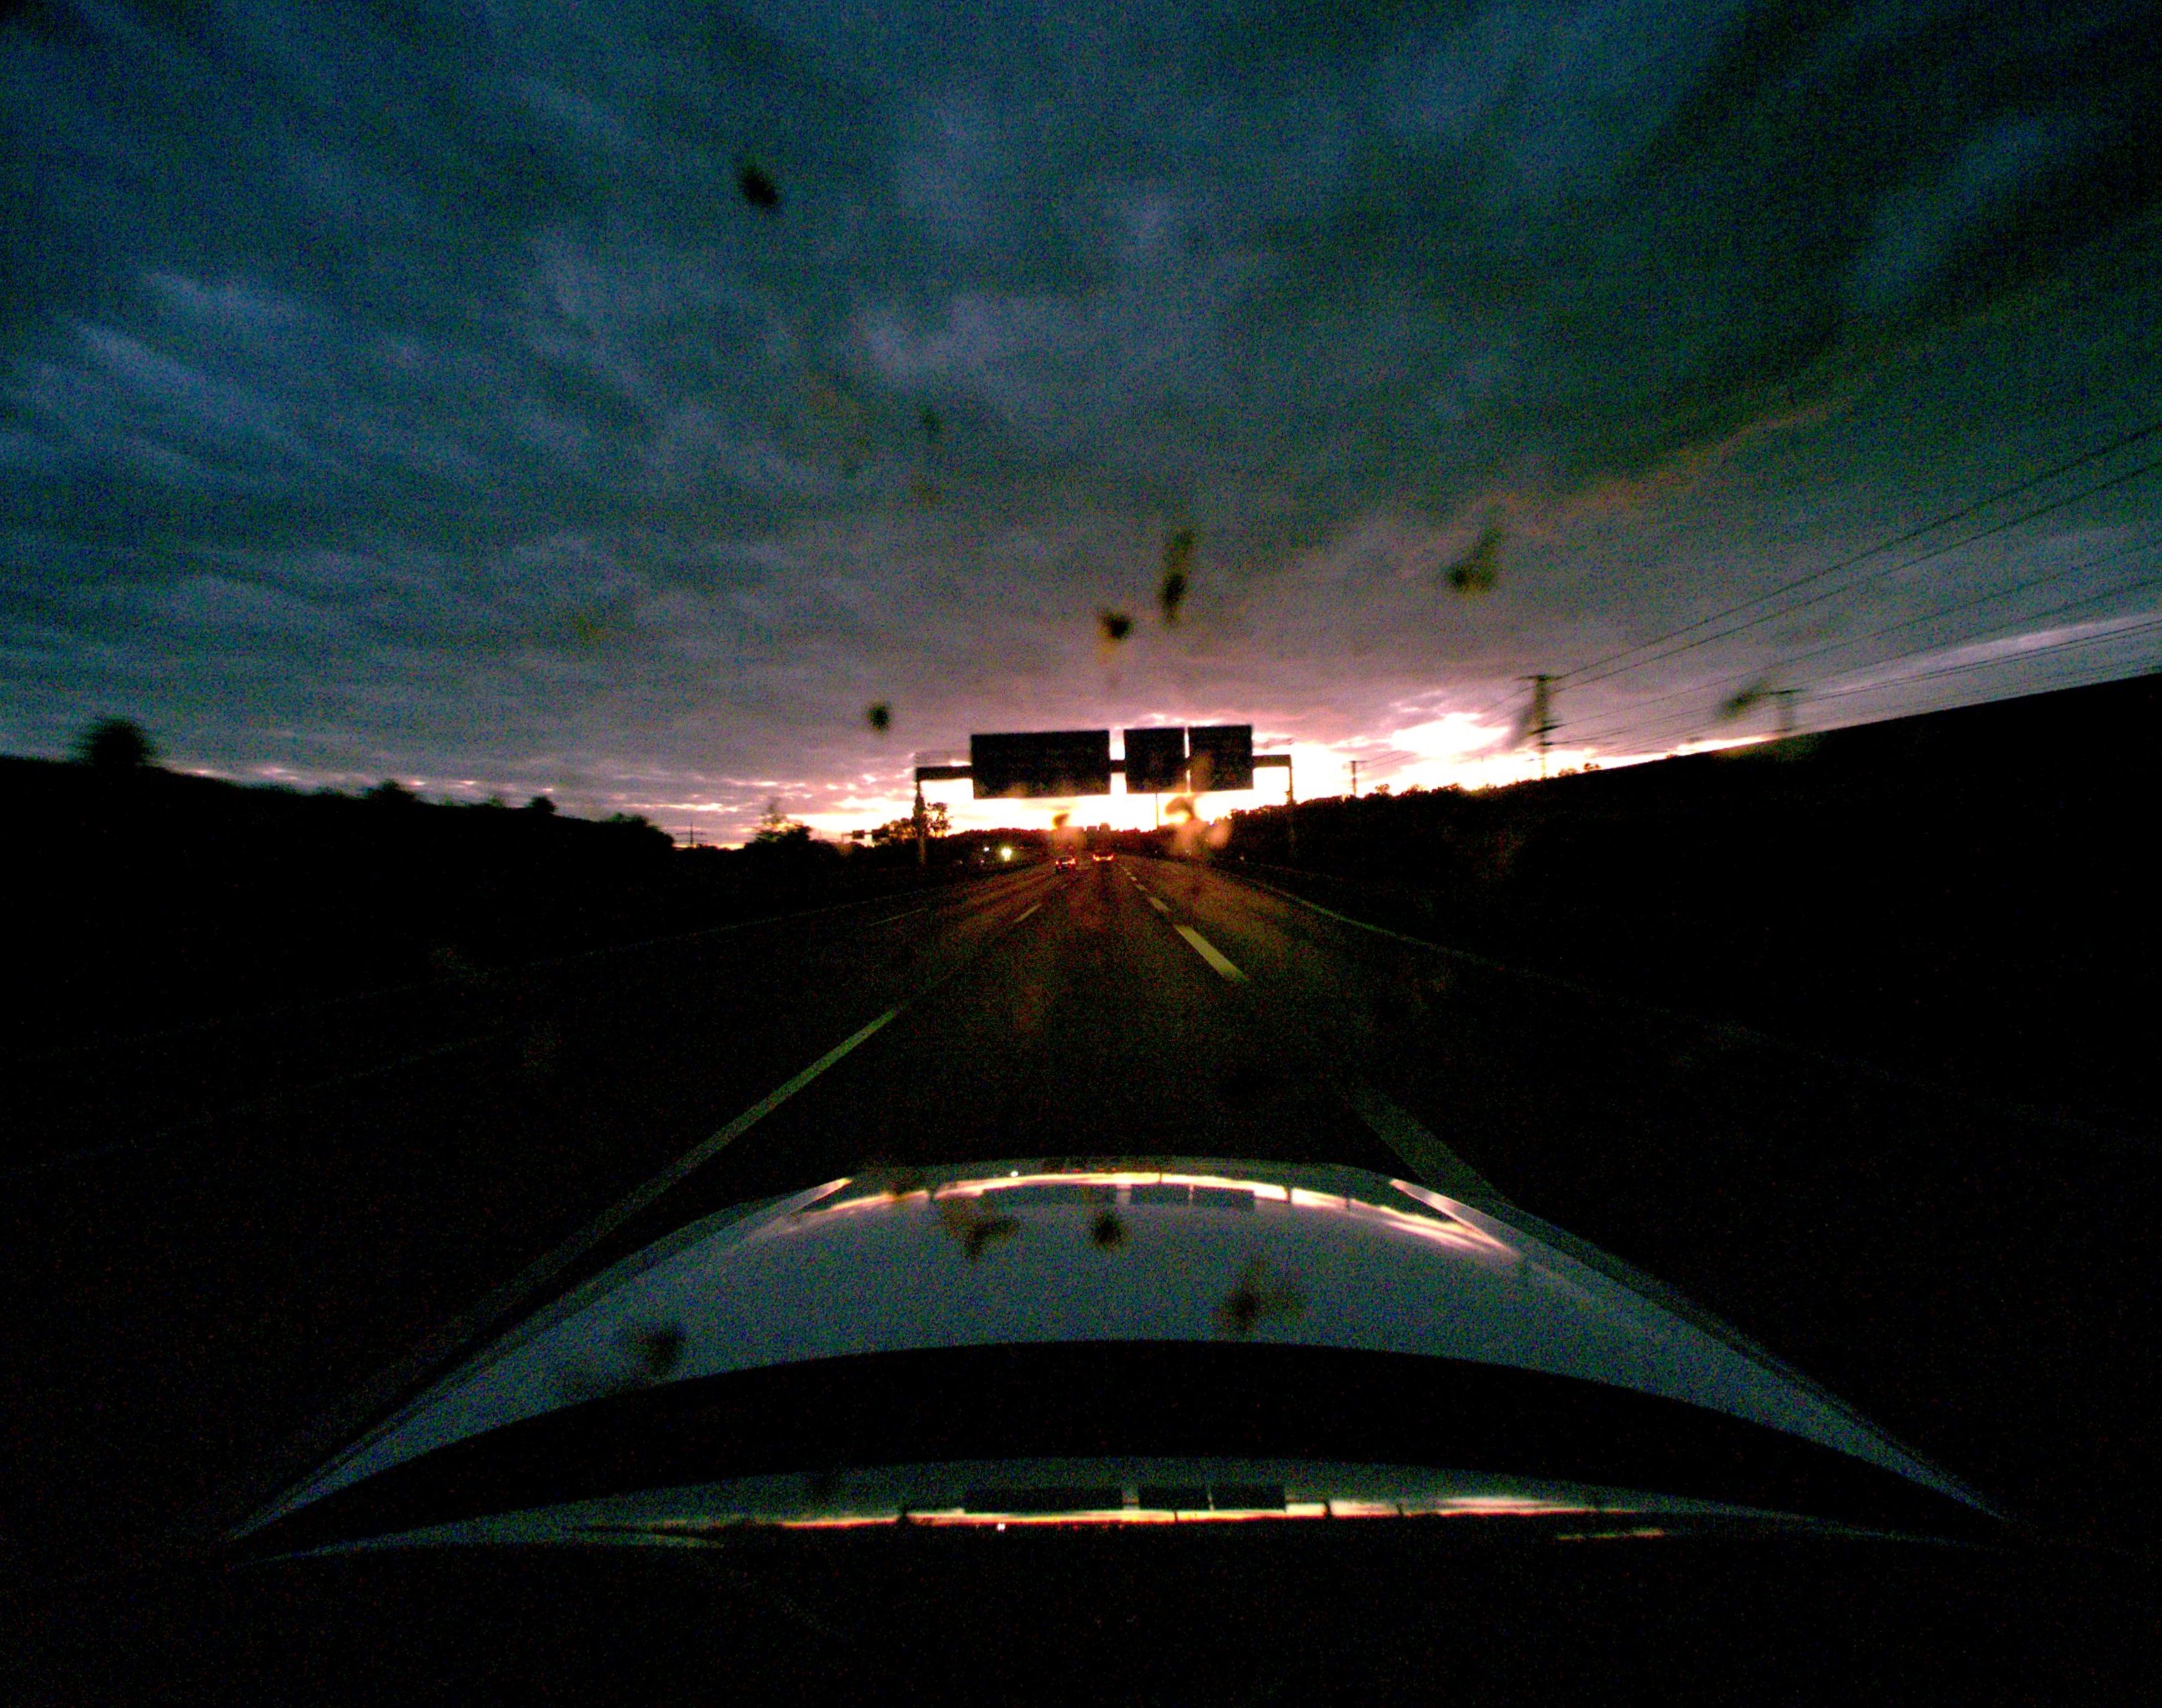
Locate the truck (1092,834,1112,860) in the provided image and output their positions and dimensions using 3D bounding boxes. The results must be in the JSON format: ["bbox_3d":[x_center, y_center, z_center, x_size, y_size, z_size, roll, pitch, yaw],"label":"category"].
[{"bbox_3d":[3.416,-1.198,134.293,2.682,4.070,10.518,-4,1,0],"label":"truck"}]

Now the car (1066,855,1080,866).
[{"bbox_3d":[-1.060,0.888,111.369,1.684,1.401,3.408,-5,-1,0],"label":"car"}]

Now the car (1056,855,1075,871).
[{"bbox_3d":[-1.540,0.852,77.897,1.685,1.401,3.406,-4,0,-2],"label":"car"}]

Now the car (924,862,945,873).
[{"bbox_3d":[-18.804,1.710,104.730,1.683,1.401,4.430,0,-1,2],"label":"car"}]

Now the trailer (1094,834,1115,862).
[{"bbox_3d":[3.500,-0.976,124.624,2.714,4.070,8.829,-4,1,0],"label":"trailer"}]
